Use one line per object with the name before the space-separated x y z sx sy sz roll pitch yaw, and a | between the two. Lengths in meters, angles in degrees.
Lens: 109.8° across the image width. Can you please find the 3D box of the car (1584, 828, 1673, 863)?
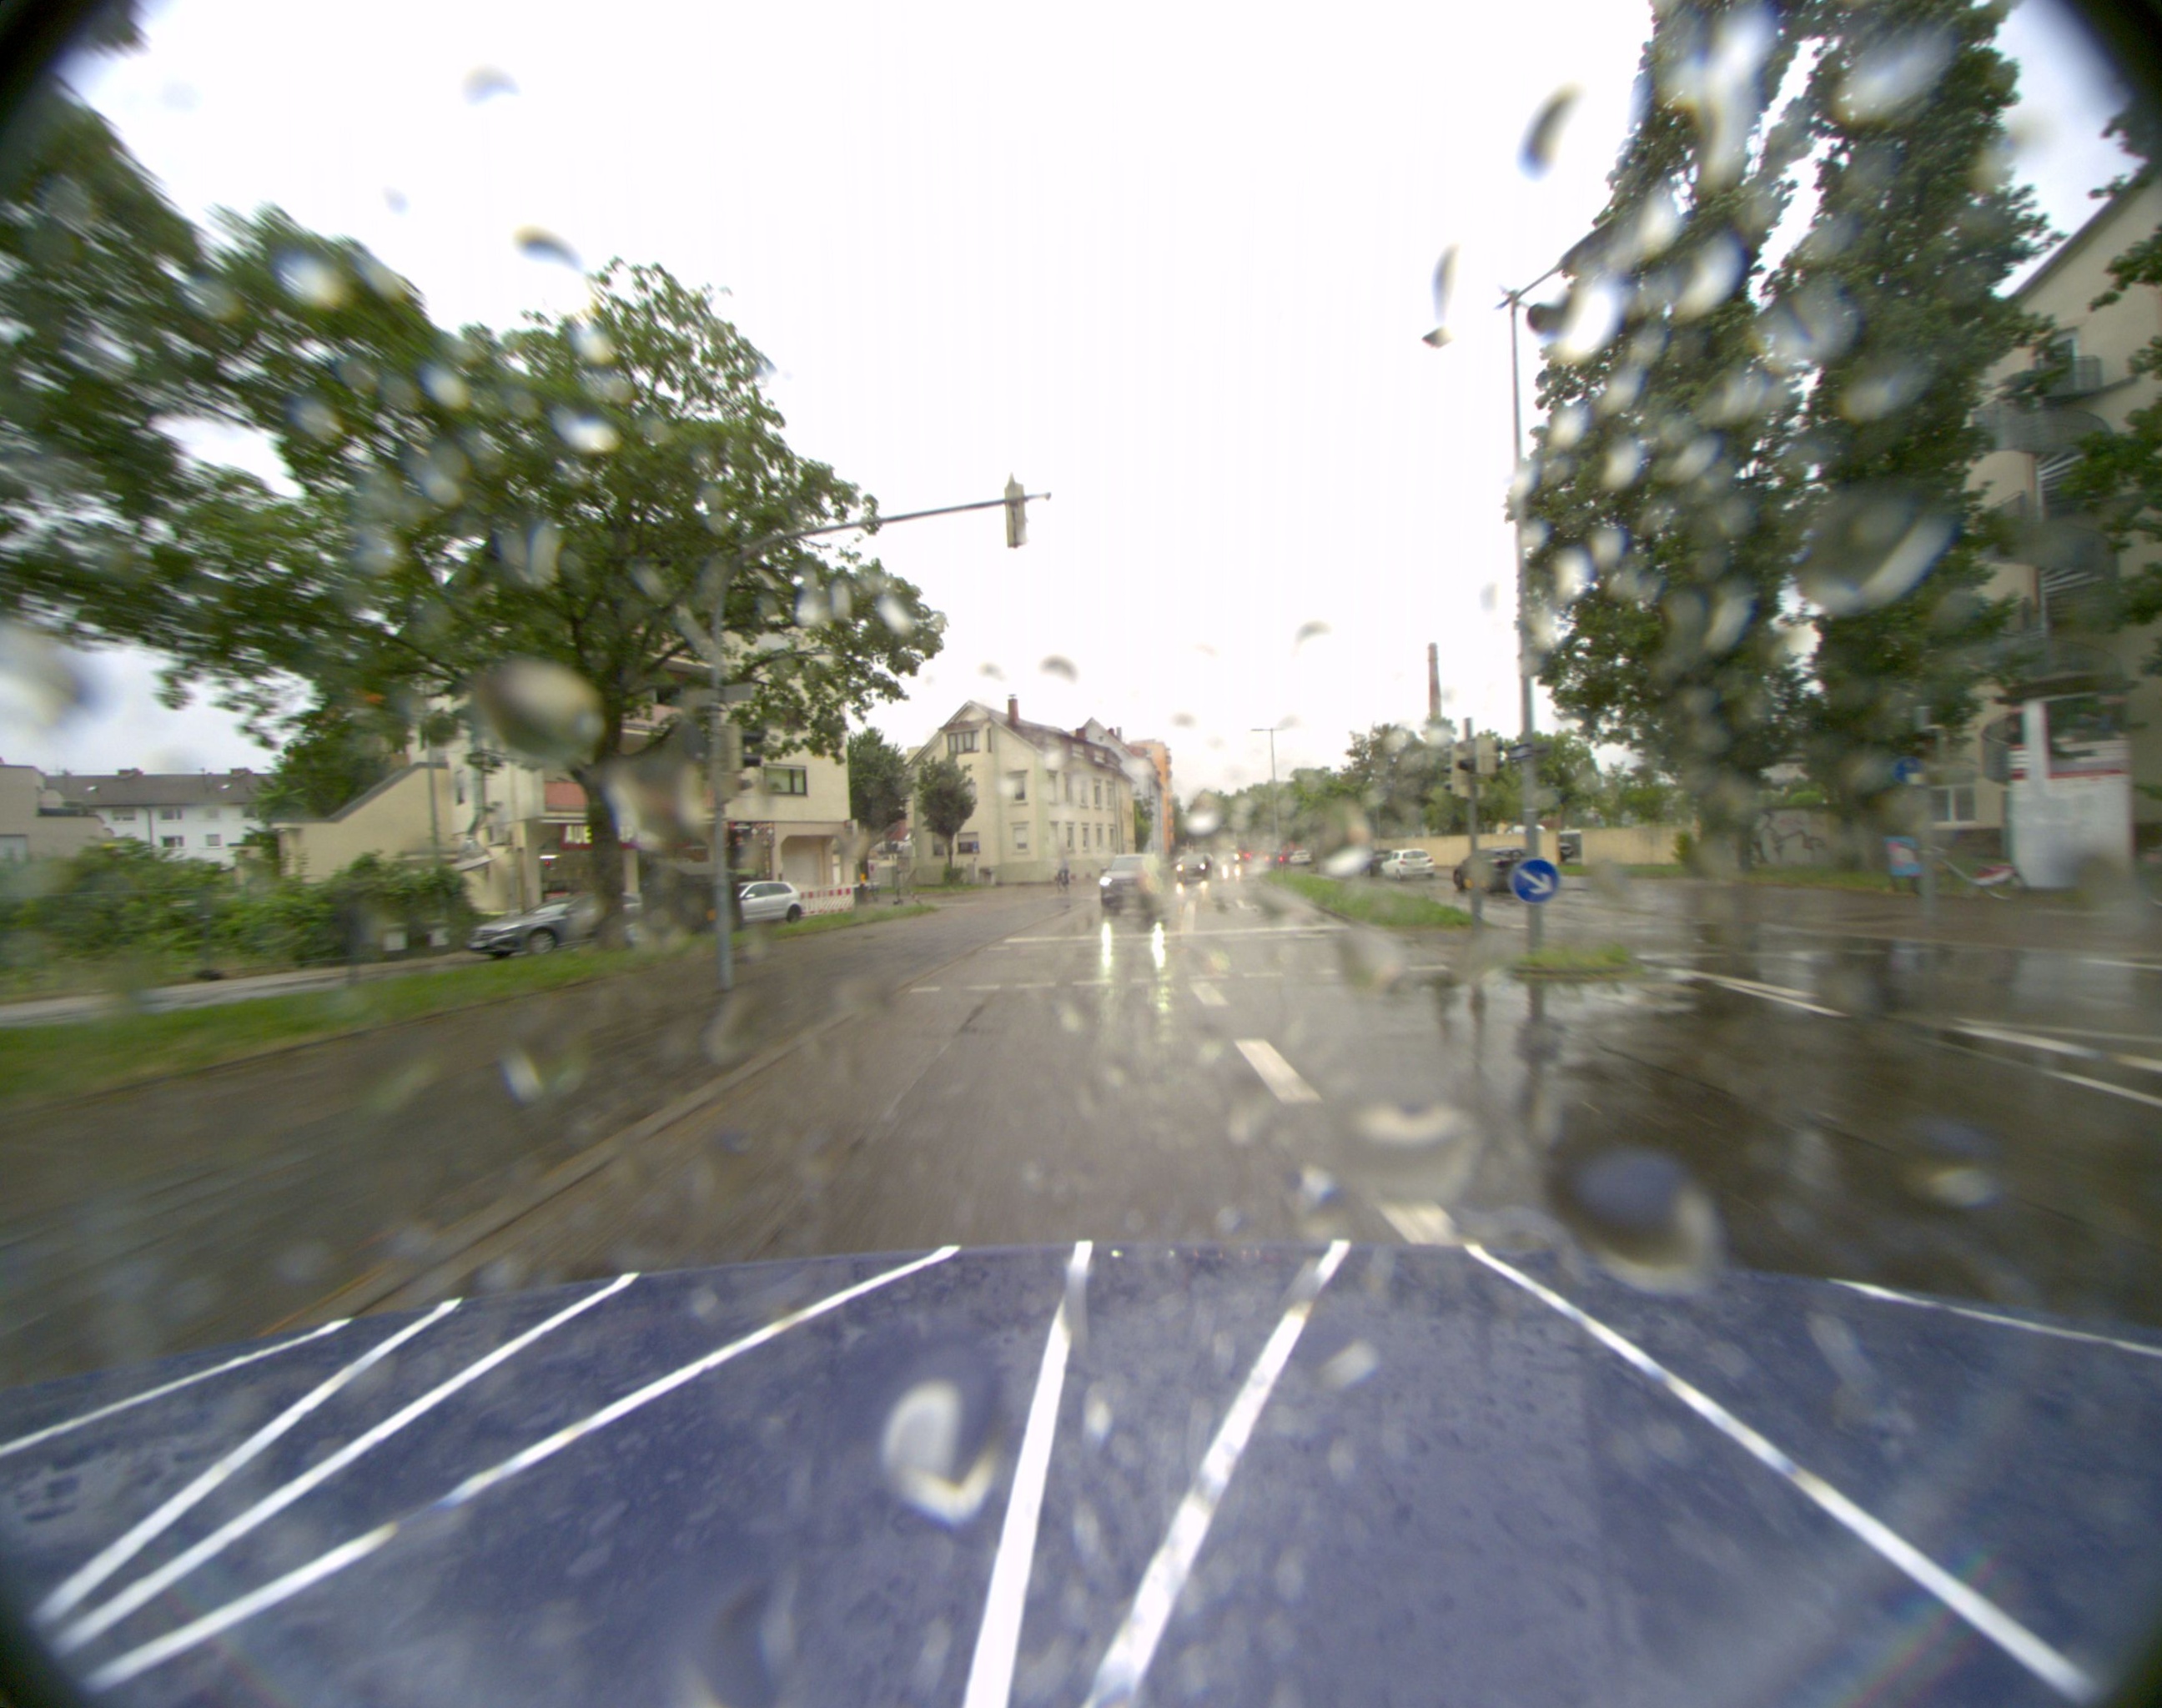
car | 34.570 -0.517 48.070 2.002 1.980 3.992 -3 0 -27

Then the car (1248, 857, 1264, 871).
car | 25.134 1.396 109.240 2.069 1.731 4.178 -3 0 11

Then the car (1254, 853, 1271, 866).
car | 21.710 0.695 90.960 1.709 1.492 3.948 0 0 9

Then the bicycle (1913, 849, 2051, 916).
bicycle | 17.124 0.516 14.505 0.699 1.179 1.624 -3 0 4

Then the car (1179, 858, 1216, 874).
car | 12.786 1.272 83.449 3.920 1.472 1.858 -3 0 11

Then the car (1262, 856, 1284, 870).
car | 19.335 0.863 76.477 1.730 1.385 3.953 0 0 8

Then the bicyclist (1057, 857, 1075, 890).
bicyclist | -0.733 0.957 36.931 0.639 1.573 0.716 -3 -1 14

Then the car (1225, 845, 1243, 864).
car | 20.371 0.053 101.357 2.192 2.242 4.888 -3 0 10

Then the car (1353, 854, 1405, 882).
car | 16.814 0.745 43.093 1.730 1.374 4.182 -5 0 8

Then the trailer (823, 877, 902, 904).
trailer | -11.412 1.918 39.525 4.522 1.224 1.828 -3 0 42

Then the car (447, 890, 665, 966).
car | -12.958 1.767 19.086 1.699 1.425 4.163 -3 0 23

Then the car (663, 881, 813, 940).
car | -10.539 1.707 23.682 1.636 1.425 4.183 -3 0 23

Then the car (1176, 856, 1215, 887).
car | 6.814 0.981 45.013 1.830 1.619 4.004 -3 0 14

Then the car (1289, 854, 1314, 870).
car | 22.516 0.752 77.669 1.778 1.451 4.683 -3 0 9

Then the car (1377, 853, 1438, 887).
car | 16.021 0.752 37.487 1.605 1.465 4.124 -3 0 6

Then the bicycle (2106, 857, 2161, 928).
bicycle | 16.824 0.593 11.380 0.557 1.070 1.796 -3 0 4

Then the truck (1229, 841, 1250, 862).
truck | 34.704 -0.592 166.692 3.830 4.359 10.793 -3 0 10

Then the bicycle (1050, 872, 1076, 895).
bicycle | -0.856 1.416 36.780 0.674 1.053 1.974 -3 -1 14

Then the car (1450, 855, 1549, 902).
car | 14.469 0.797 26.547 1.547 1.389 4.196 -4 0 8

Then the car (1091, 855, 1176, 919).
car | 1.765 0.970 23.832 1.959 1.701 4.178 -3 0 13

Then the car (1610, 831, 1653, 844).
car | 72.047 -2.176 99.482 2.002 1.433 3.993 -2 0 -22

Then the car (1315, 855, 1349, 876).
car | 18.961 0.828 57.562 1.699 1.436 4.100 -4 0 9

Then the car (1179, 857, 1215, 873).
car | 13.095 1.211 85.888 3.920 1.605 1.693 -3 0 11

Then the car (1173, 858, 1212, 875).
car | 11.165 1.285 76.229 3.758 1.446 1.803 -3 -2 10

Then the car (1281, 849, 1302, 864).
car | 23.753 0.239 85.852 1.627 1.588 3.800 -3 0 7

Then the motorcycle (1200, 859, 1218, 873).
motorcycle | 13.691 1.274 81.257 1.765 1.365 0.735 -3 0 11

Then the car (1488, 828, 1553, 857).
car | 39.613 -0.985 68.626 2.152 2.382 4.713 -3 0 -20

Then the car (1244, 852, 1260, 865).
car | 25.906 0.662 115.319 2.069 1.731 4.177 -3 0 10

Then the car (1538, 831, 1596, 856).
car | 44.538 -0.938 69.709 2.002 2.002 3.994 -3 0 -21

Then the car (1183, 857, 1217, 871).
car | 14.947 1.268 95.459 4.168 1.468 1.651 -3 0 11
